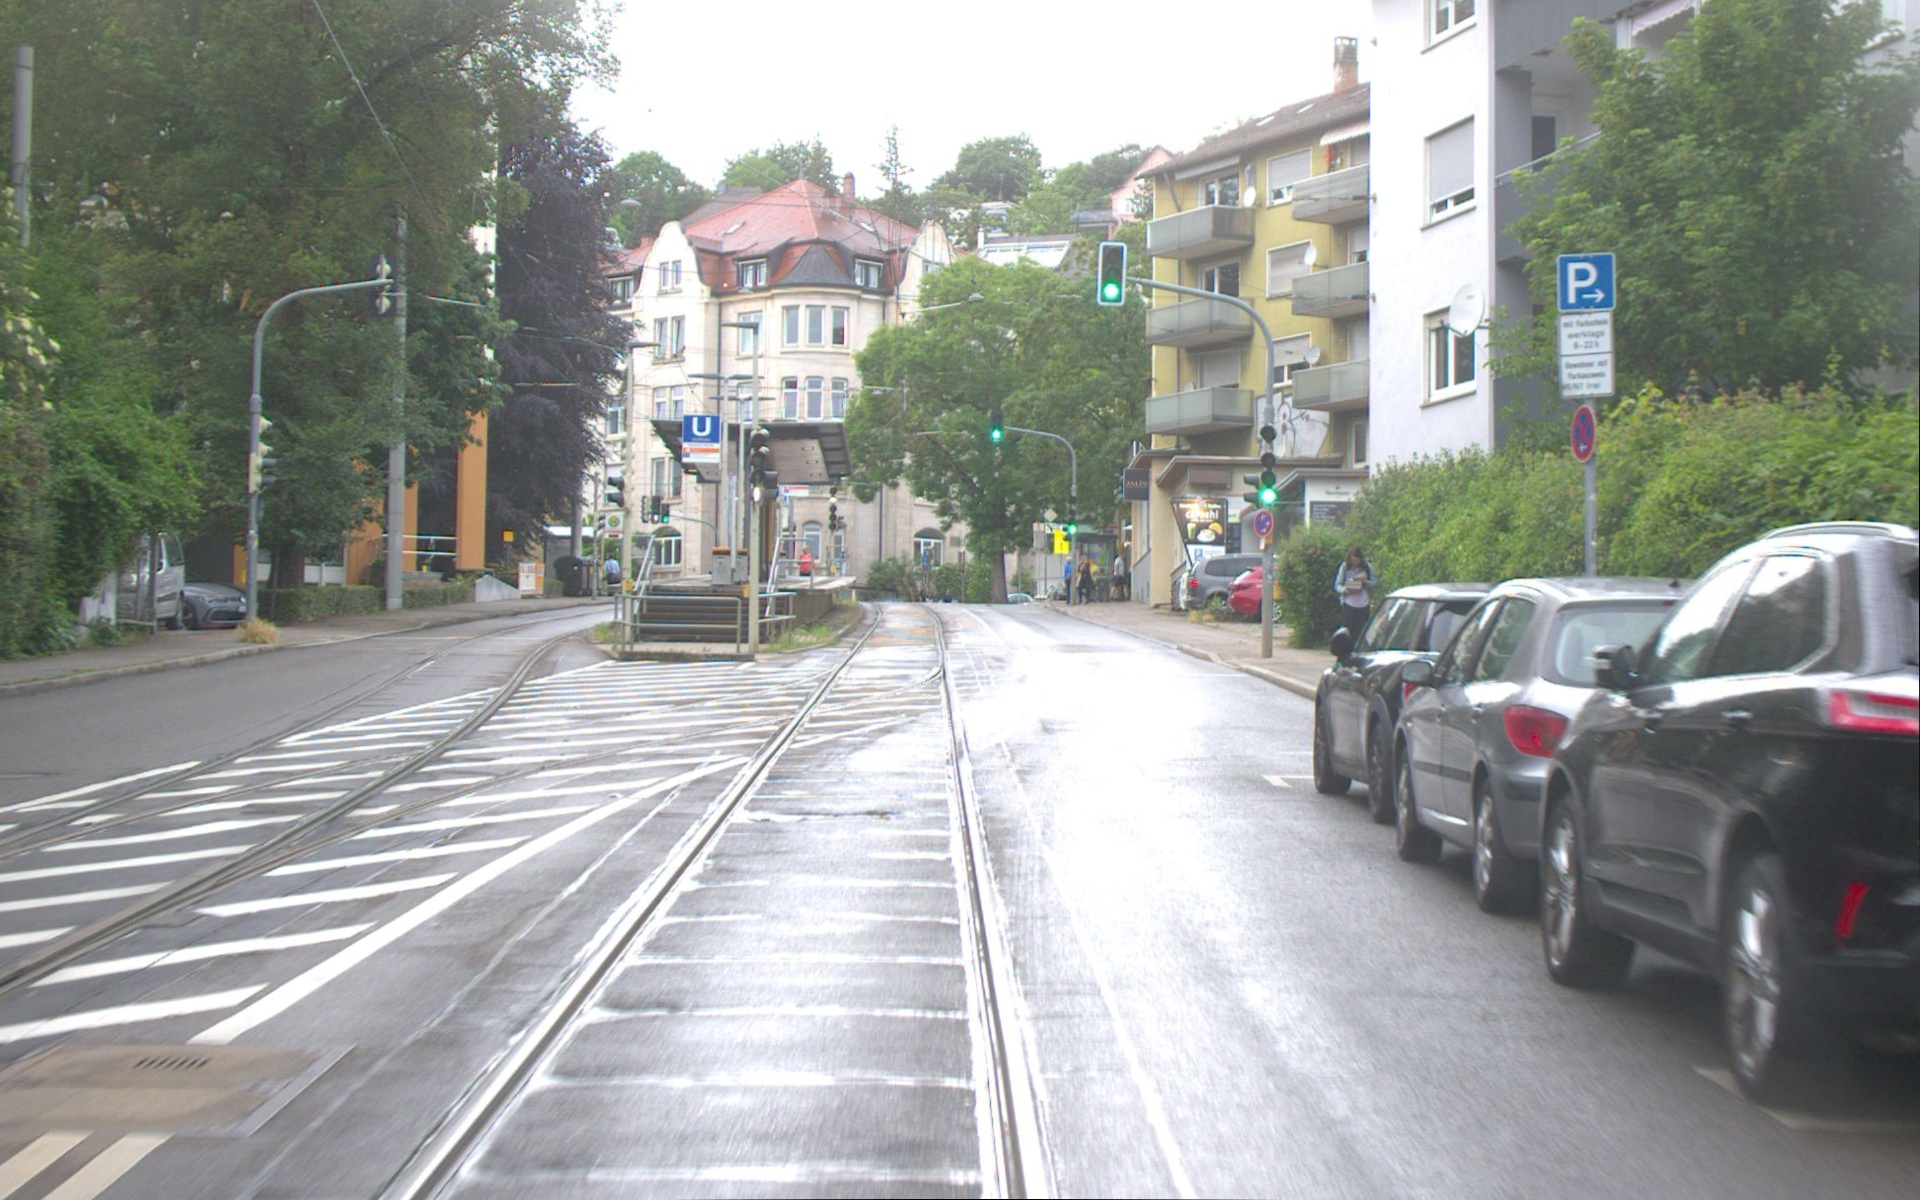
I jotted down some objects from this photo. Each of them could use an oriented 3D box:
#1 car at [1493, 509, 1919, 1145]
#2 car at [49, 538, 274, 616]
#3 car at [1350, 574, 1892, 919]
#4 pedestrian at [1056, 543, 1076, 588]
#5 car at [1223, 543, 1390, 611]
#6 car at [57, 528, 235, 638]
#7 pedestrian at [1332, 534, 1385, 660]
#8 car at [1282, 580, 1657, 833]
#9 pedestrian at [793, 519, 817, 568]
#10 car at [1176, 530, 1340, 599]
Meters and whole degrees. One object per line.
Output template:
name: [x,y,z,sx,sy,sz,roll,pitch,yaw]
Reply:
car: [3.136,0.587,11.227,1.906,1.636,4.690,2,1,-1]
car: [-15.525,-0.421,66.875,3.991,1.401,1.680,0,-3,22]
car: [3.079,0.612,16.876,1.704,1.423,4.251,2,1,-1]
pedestrian: [3.524,-1.155,114.414,0.578,1.462,0.544,2,-3,-8]
car: [8.457,-0.552,84.171,3.841,1.537,1.808,1,-1,-2]
car: [-14.151,-0.266,60.006,1.993,1.678,3.999,1,-3,2]
pedestrian: [5.210,-0.037,44.981,0.644,1.623,0.699,1,-1,4]
car: [3.170,0.614,22.101,1.704,1.421,3.862,2,1,-1]
pedestrian: [-4.809,-1.755,106.874,0.657,1.462,0.772,1,-3,2]
car: [7.590,-0.895,87.855,3.987,1.640,1.807,1,-1,-1]
